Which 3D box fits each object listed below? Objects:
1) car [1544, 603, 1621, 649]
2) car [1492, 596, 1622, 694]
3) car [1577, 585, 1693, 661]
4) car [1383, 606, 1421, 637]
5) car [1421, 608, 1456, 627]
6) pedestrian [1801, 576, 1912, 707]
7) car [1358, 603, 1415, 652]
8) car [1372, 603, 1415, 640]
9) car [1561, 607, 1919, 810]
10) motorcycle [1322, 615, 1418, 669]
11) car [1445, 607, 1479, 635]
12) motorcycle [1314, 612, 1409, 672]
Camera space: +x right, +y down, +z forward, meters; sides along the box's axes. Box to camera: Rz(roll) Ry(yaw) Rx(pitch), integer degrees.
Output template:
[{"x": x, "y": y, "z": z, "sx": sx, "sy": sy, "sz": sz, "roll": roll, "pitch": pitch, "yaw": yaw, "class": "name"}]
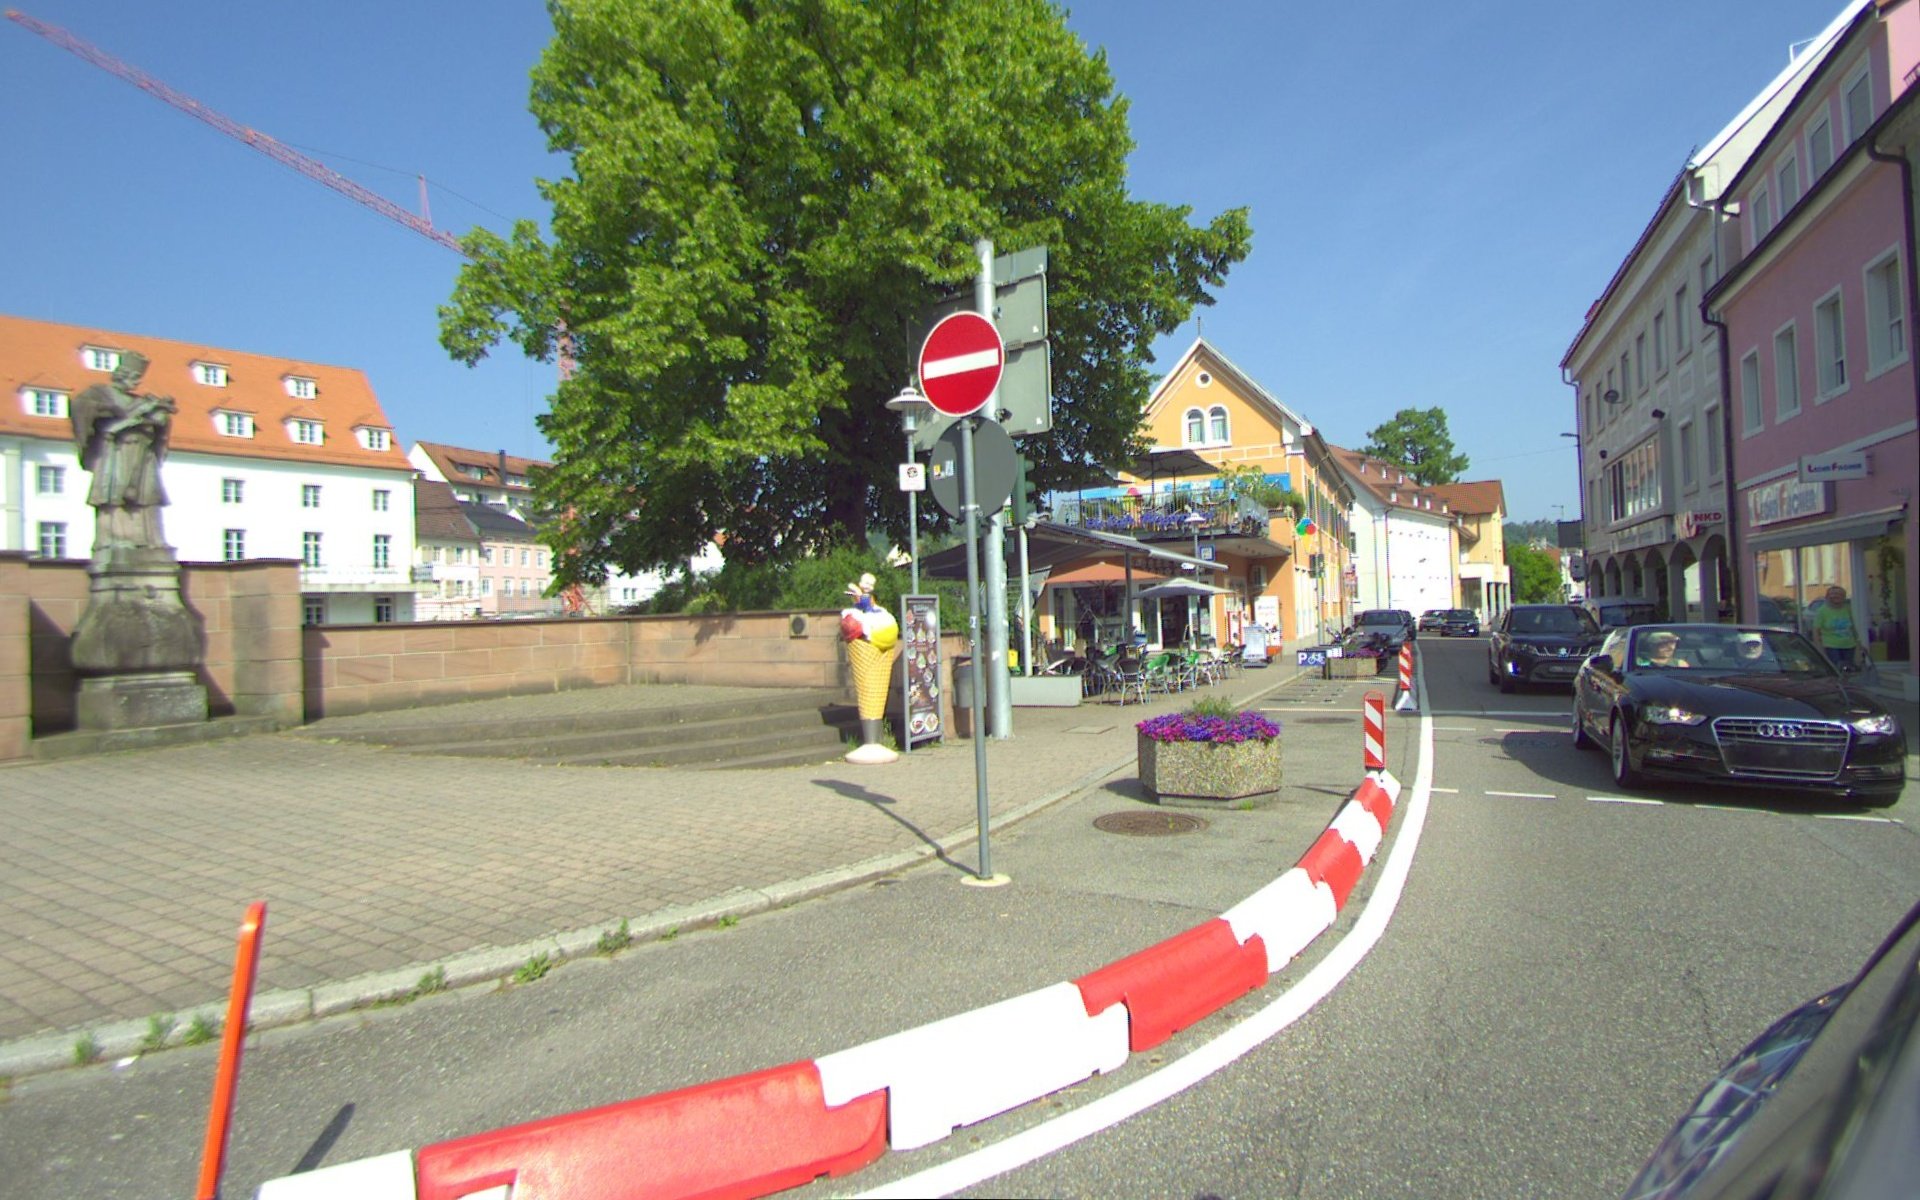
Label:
[{"x": 22.387, "y": 0.917, "z": 36.529, "sx": 1.790, "sy": 1.489, "sz": 4.416, "roll": -3, "pitch": -2, "yaw": 25, "class": "car"}, {"x": 10.848, "y": 0.748, "z": 18.621, "sx": 1.667, "sy": 1.581, "sz": 3.935, "roll": -2, "pitch": -1, "yaw": 26, "class": "car"}, {"x": 17.654, "y": 0.587, "z": 26.666, "sx": 1.692, "sy": 1.762, "sz": 4.112, "roll": -4, "pitch": -2, "yaw": 23, "class": "car"}, {"x": 23.382, "y": 1.101, "z": 53.504, "sx": 1.667, "sy": 1.560, "sz": 4.148, "roll": -1, "pitch": -1, "yaw": 26, "class": "car"}, {"x": 33.712, "y": 1.248, "z": 71.312, "sx": 1.518, "sy": 1.260, "sz": 3.982, "roll": -2, "pitch": -2, "yaw": 35, "class": "car"}, {"x": 11.923, "y": 0.550, "z": 13.492, "sx": 0.780, "sy": 1.653, "sz": 0.851, "roll": -5, "pitch": -3, "yaw": 27, "class": "pedestrian"}, {"x": 15.495, "y": 0.988, "z": 36.751, "sx": 1.731, "sy": 1.618, "sz": 4.557, "roll": -3, "pitch": -2, "yaw": 23, "class": "car"}, {"x": 20.643, "y": 1.021, "z": 48.149, "sx": 1.667, "sy": 1.666, "sz": 4.212, "roll": -1, "pitch": -1, "yaw": 26, "class": "car"}, {"x": 6.705, "y": 0.768, "z": 9.080, "sx": 1.737, "sy": 1.374, "sz": 4.165, "roll": -1, "pitch": -1, "yaw": 24, "class": "car"}, {"x": 10.344, "y": 1.053, "z": 25.558, "sx": 2.047, "sy": 1.286, "sz": 0.930, "roll": -1, "pitch": -1, "yaw": -14, "class": "motorcycle"}, {"x": 28.858, "y": 1.198, "z": 58.237, "sx": 1.667, "sy": 1.581, "sz": 3.311, "roll": -2, "pitch": -1, "yaw": 26, "class": "car"}, {"x": 9.635, "y": 1.000, "z": 24.341, "sx": 1.861, "sy": 1.375, "sz": 0.918, "roll": -1, "pitch": -1, "yaw": -9, "class": "motorcycle"}]
